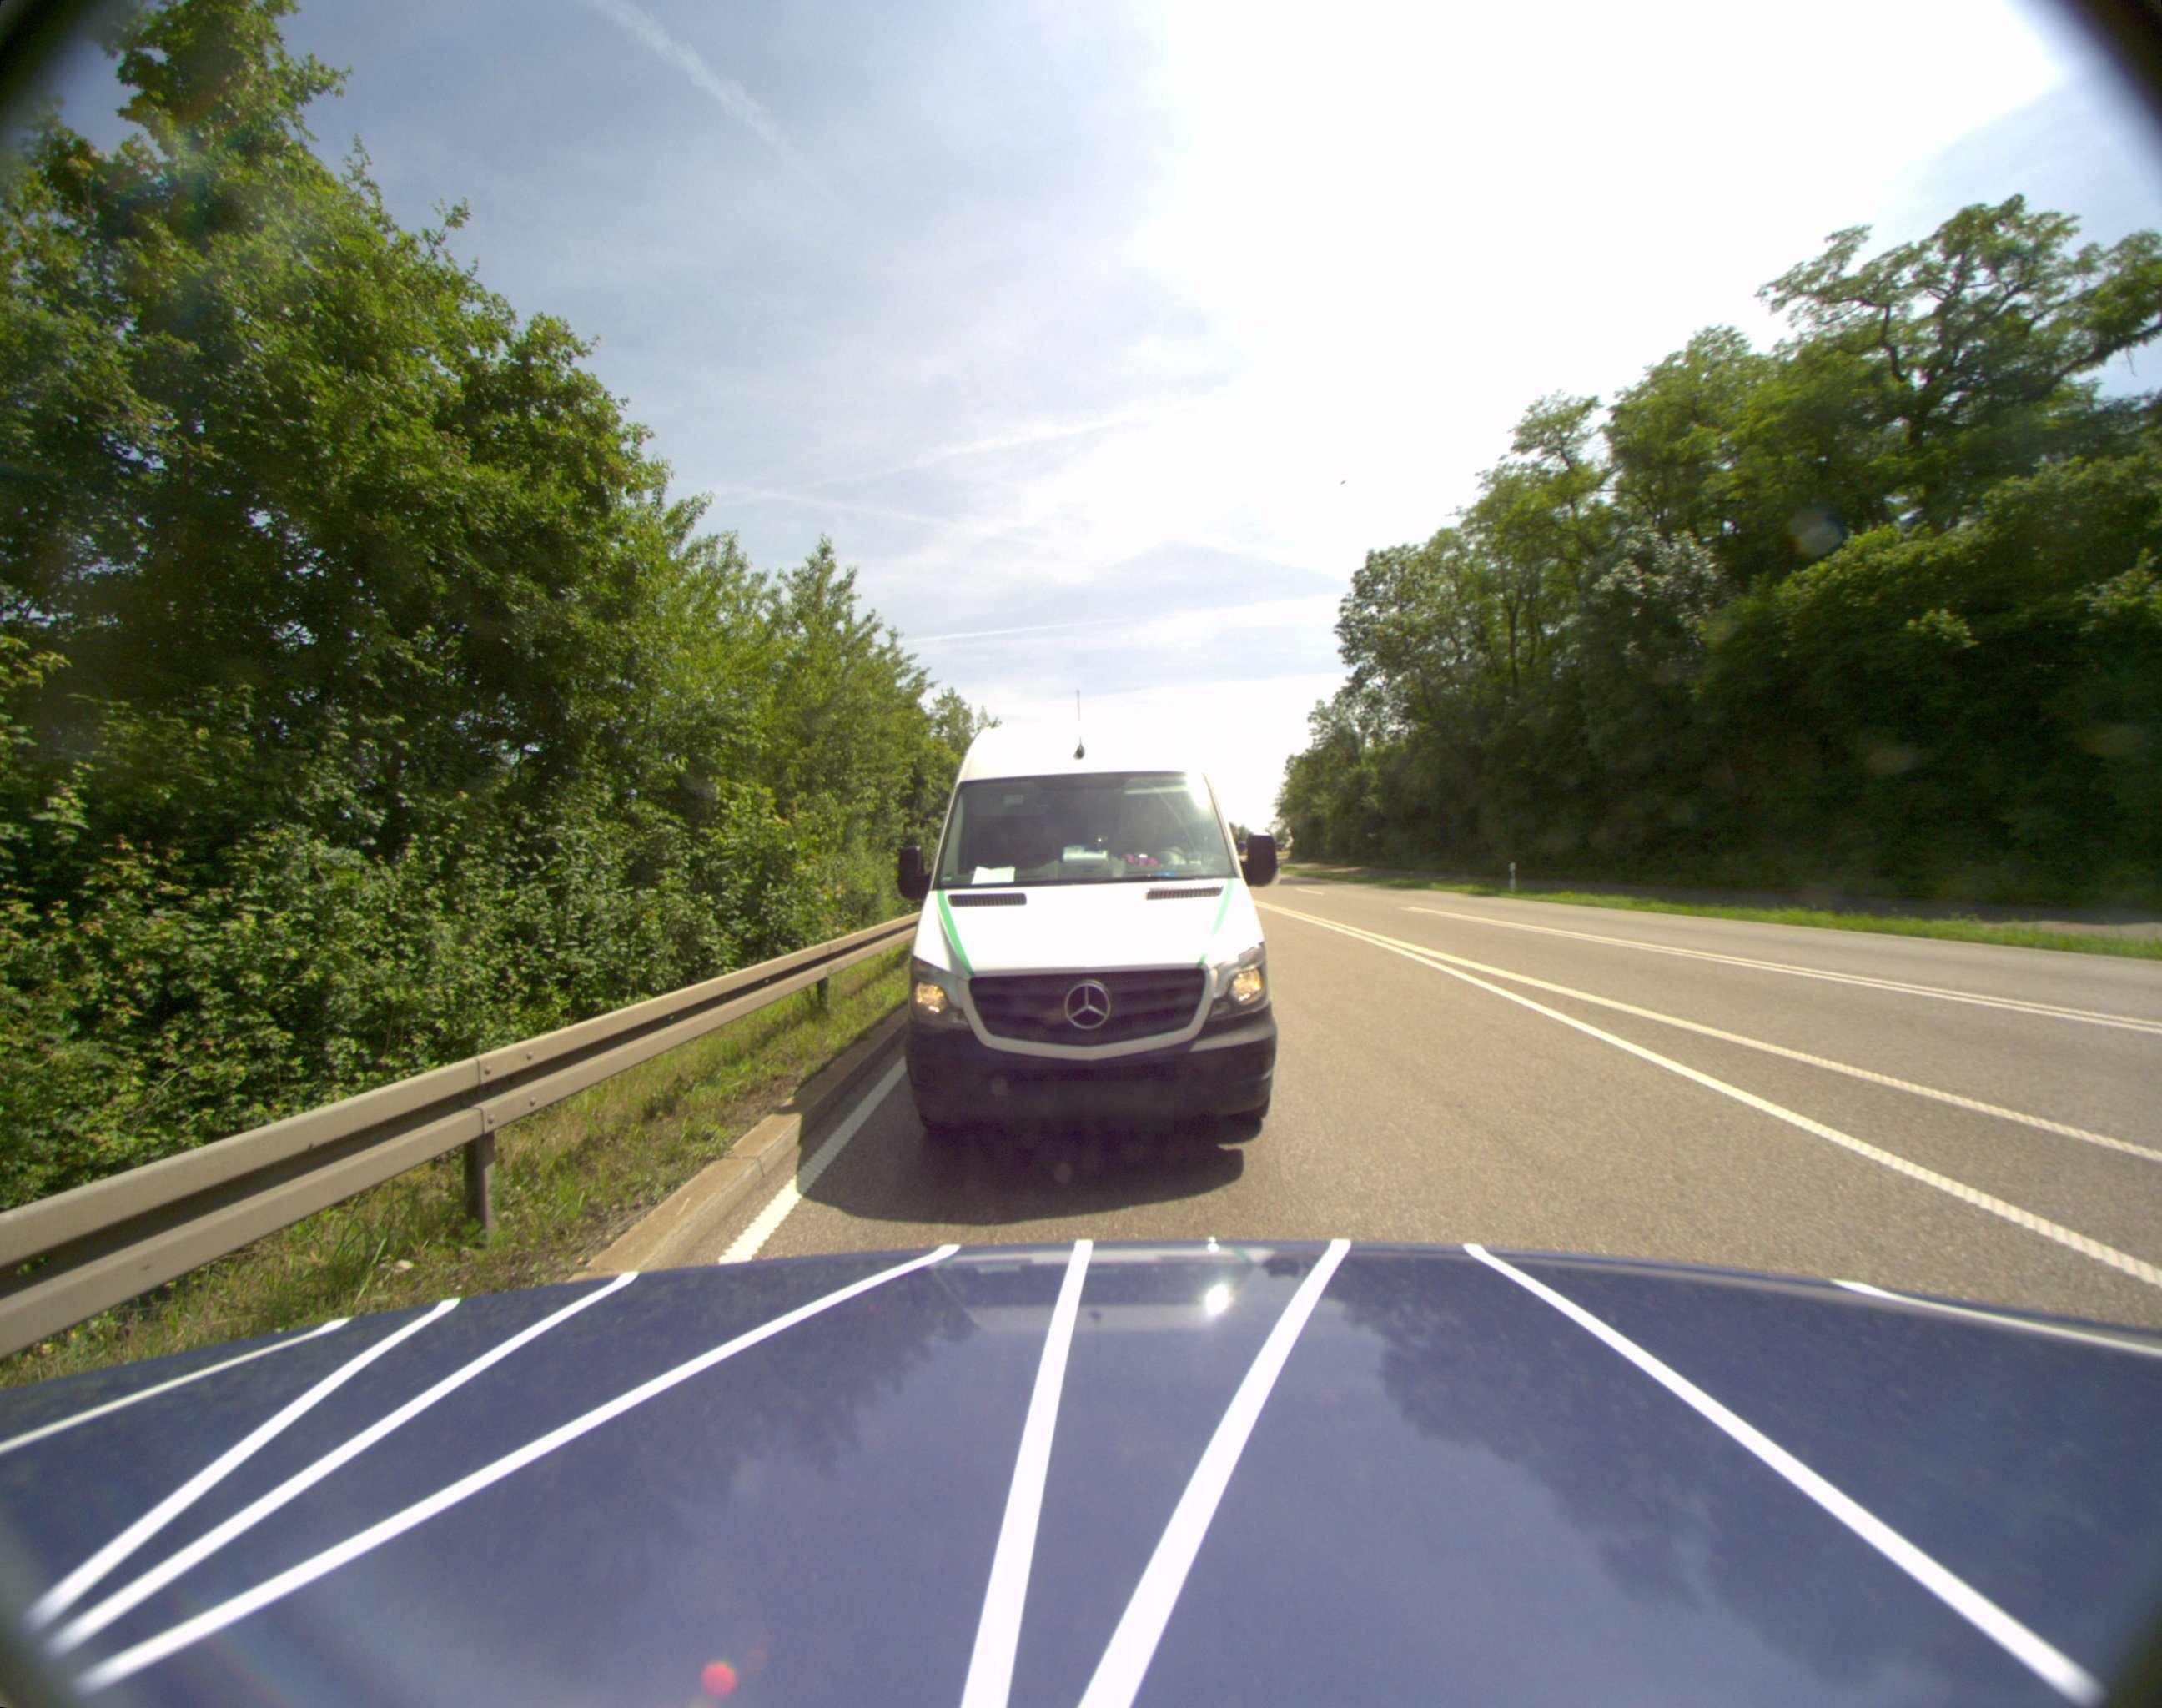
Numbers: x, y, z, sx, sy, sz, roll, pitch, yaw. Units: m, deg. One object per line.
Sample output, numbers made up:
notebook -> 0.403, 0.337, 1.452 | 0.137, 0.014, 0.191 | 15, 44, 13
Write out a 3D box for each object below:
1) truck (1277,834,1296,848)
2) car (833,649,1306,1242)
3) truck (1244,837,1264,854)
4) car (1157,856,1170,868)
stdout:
truck -> 69.371, -4.386, 256.282 | 3.980, 4.433, 14.363 | -2, 0, 23
car -> 0.031, 0.407, 5.904 | 1.958, 2.502, 5.267 | -2, 0, 2
truck -> 49.332, -2.428, 216.587 | 4.392, 4.433, 14.729 | -2, 0, 17
car -> 13.345, 1.271, 122.702 | 1.765, 1.849, 3.812 | -2, 1, 11
